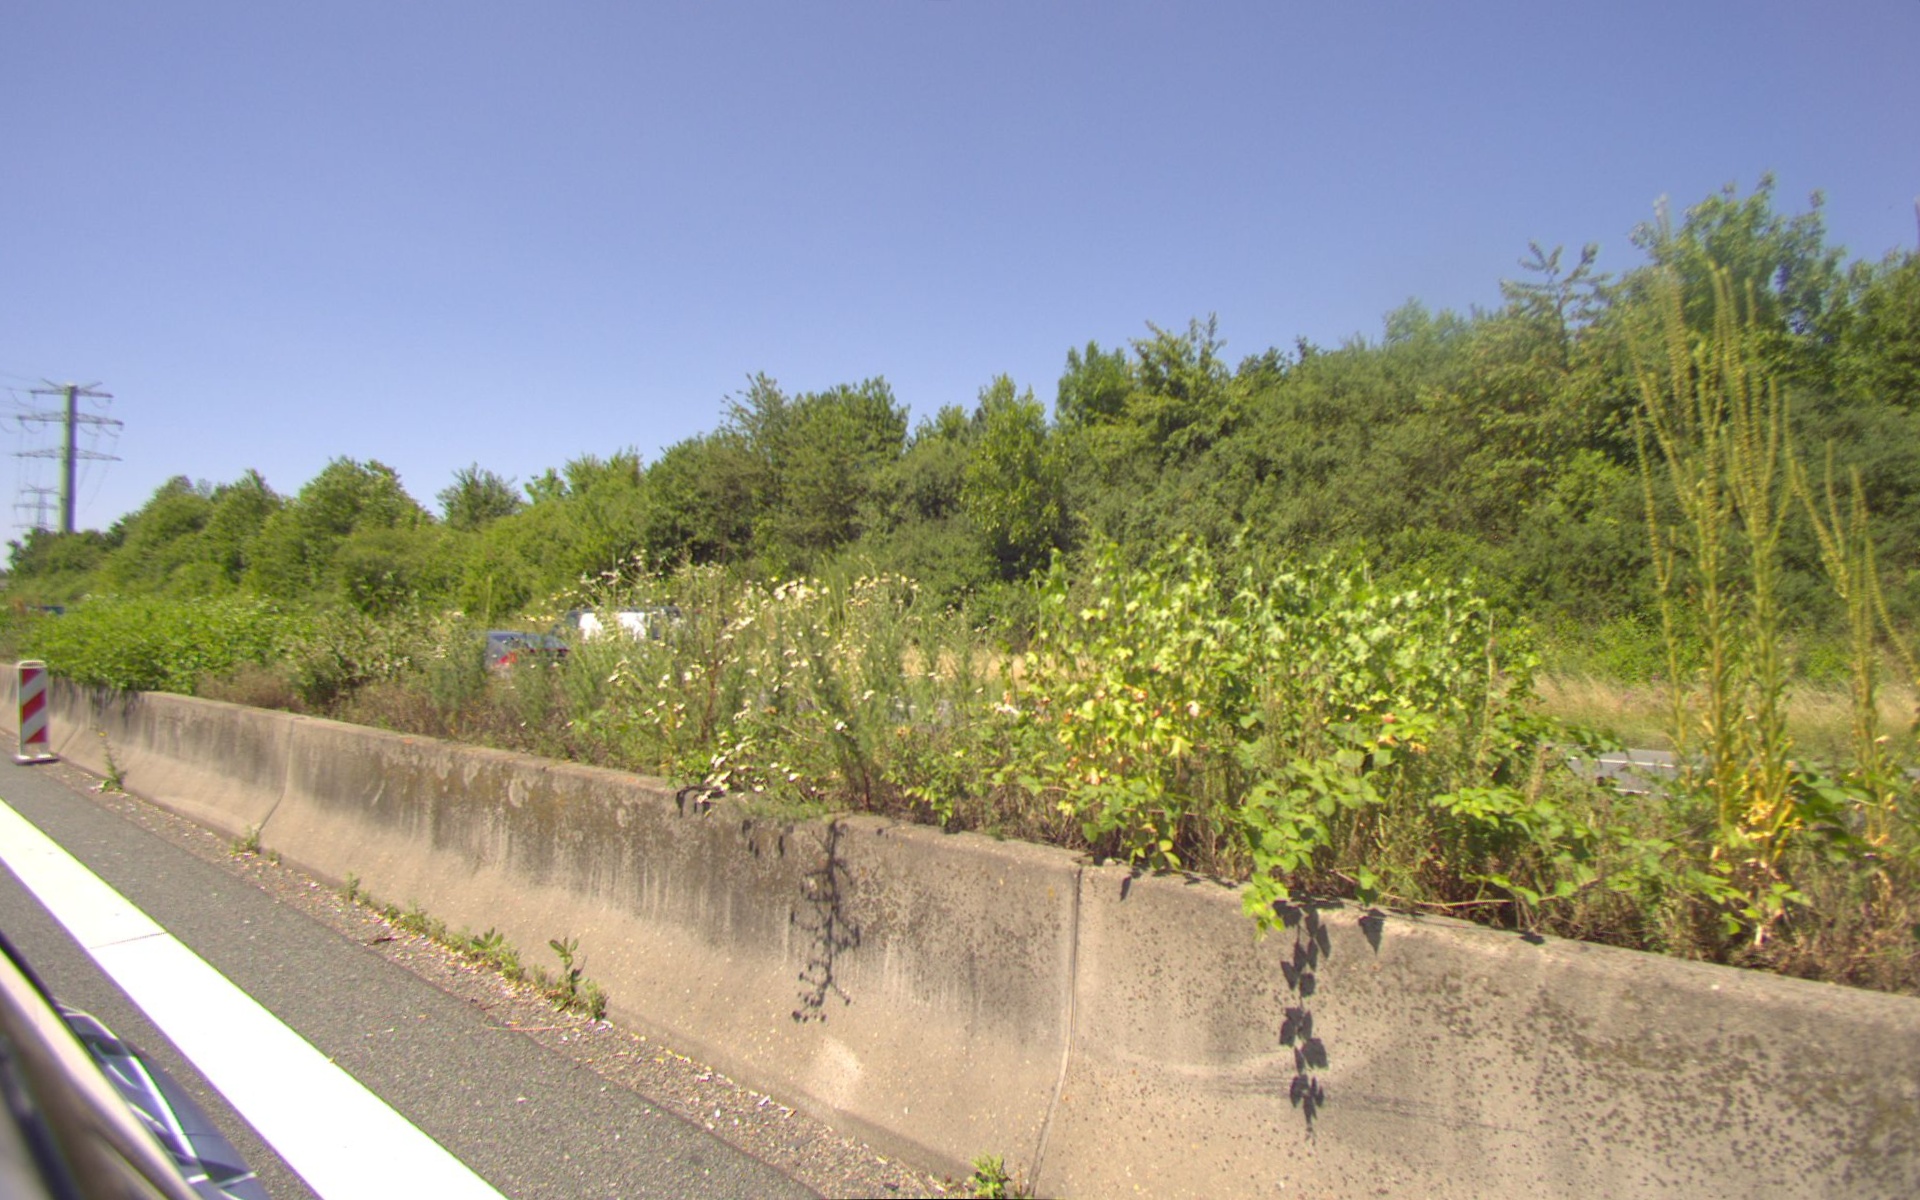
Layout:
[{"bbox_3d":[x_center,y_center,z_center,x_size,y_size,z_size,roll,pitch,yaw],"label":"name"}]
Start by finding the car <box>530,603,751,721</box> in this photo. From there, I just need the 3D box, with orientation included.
[{"bbox_3d":[-6.212,1.121,19.480,4.405,2.029,1.942,-1,-2,39],"label":"car"}]

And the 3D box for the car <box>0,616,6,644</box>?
[{"bbox_3d":[-101.468,3.092,105.017,7.671,2.894,2.734,-1,0,40],"label":"car"}]

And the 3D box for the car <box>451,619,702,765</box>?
[{"bbox_3d":[-5.555,1.196,14.460,3.997,1.803,1.632,-1,-2,41],"label":"car"}]
